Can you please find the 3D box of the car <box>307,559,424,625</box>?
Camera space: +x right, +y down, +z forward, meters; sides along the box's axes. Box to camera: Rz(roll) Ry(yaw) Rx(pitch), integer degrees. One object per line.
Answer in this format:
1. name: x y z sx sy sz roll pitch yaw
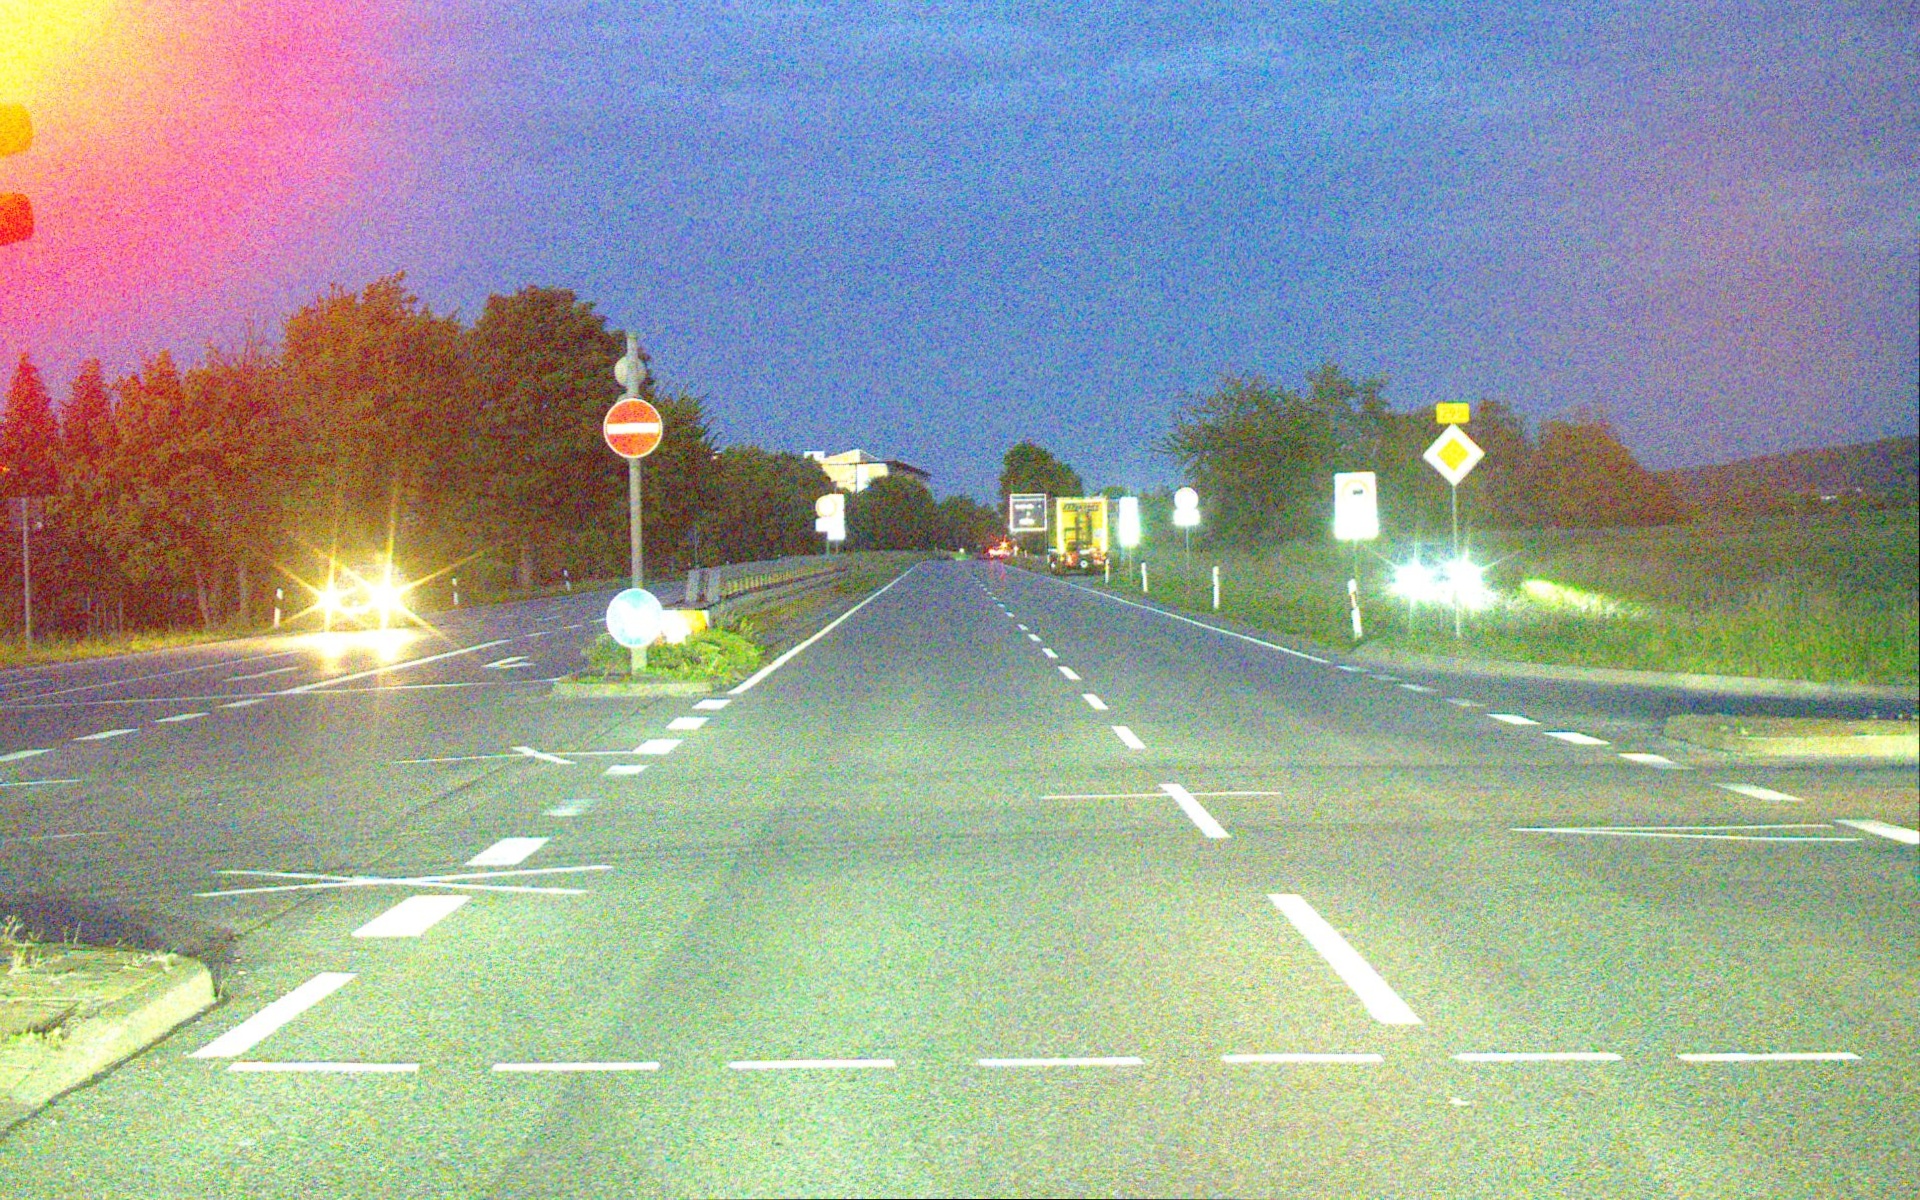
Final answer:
1. car: -13.521 -0.201 78.388 1.993 1.382 4.000 -1 1 -1
